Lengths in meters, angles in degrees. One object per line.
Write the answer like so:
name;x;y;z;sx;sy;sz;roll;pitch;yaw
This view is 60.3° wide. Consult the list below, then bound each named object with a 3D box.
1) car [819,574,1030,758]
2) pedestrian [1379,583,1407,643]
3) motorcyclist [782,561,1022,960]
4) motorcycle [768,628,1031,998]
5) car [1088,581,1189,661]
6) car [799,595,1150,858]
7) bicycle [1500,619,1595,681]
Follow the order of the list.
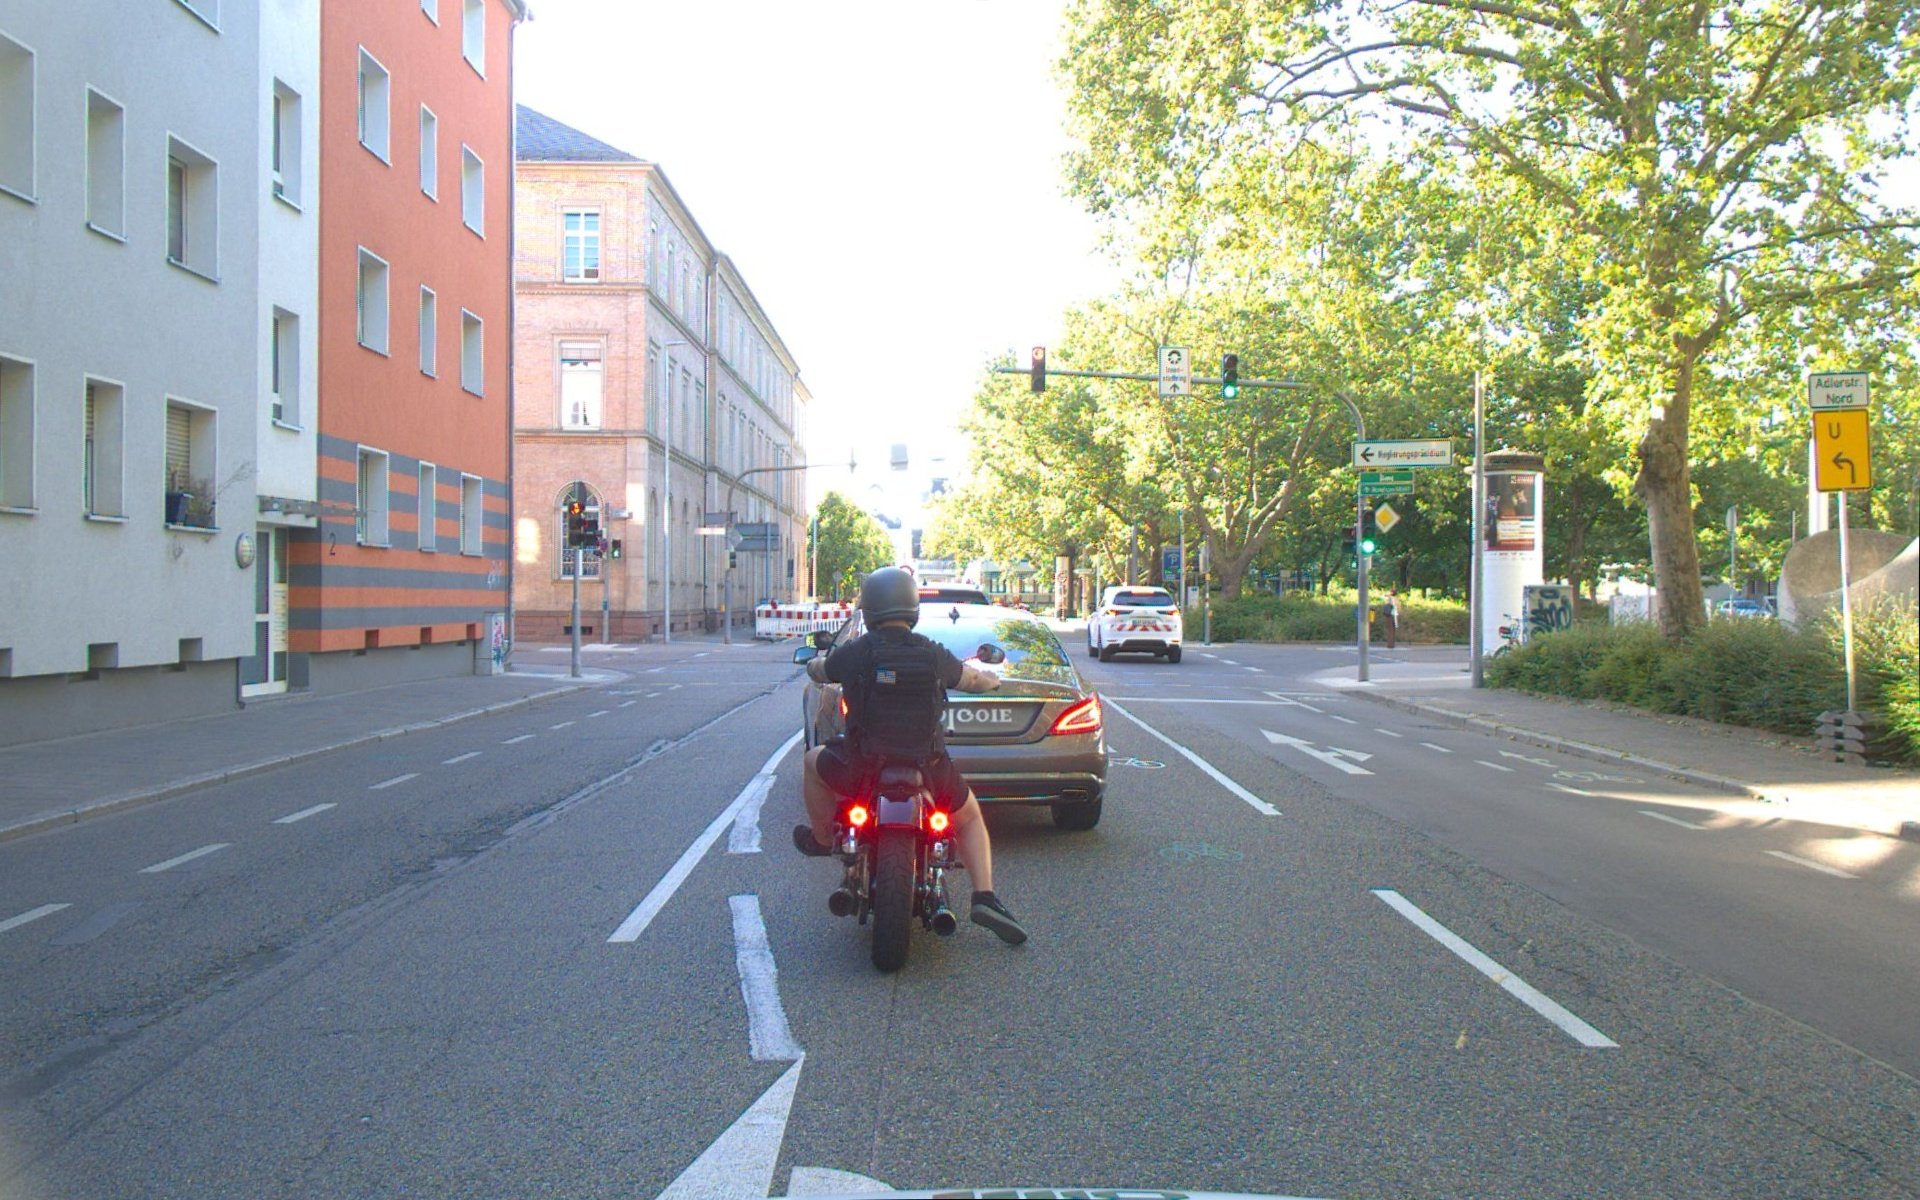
car;-0.364;0.628;17.521;1.953;1.695;3.999;1;0;-1
pedestrian;13.230;0.397;50.523;0.664;1.803;0.616;1;-1;29
motorcyclist;-0.242;0.646;7.297;0.961;1.606;1.248;0;0;-1
motorcycle;-0.238;0.801;7.259;0.961;1.297;2.407;0;0;-1
car;4.133;0.450;38.855;1.903;1.738;4.484;2;0;1
car;-0.115;0.705;11.601;1.834;1.469;4.422;0;0;-8
bicycle;9.786;0.836;27.578;1.452;0.997;0.299;1;-1;5
